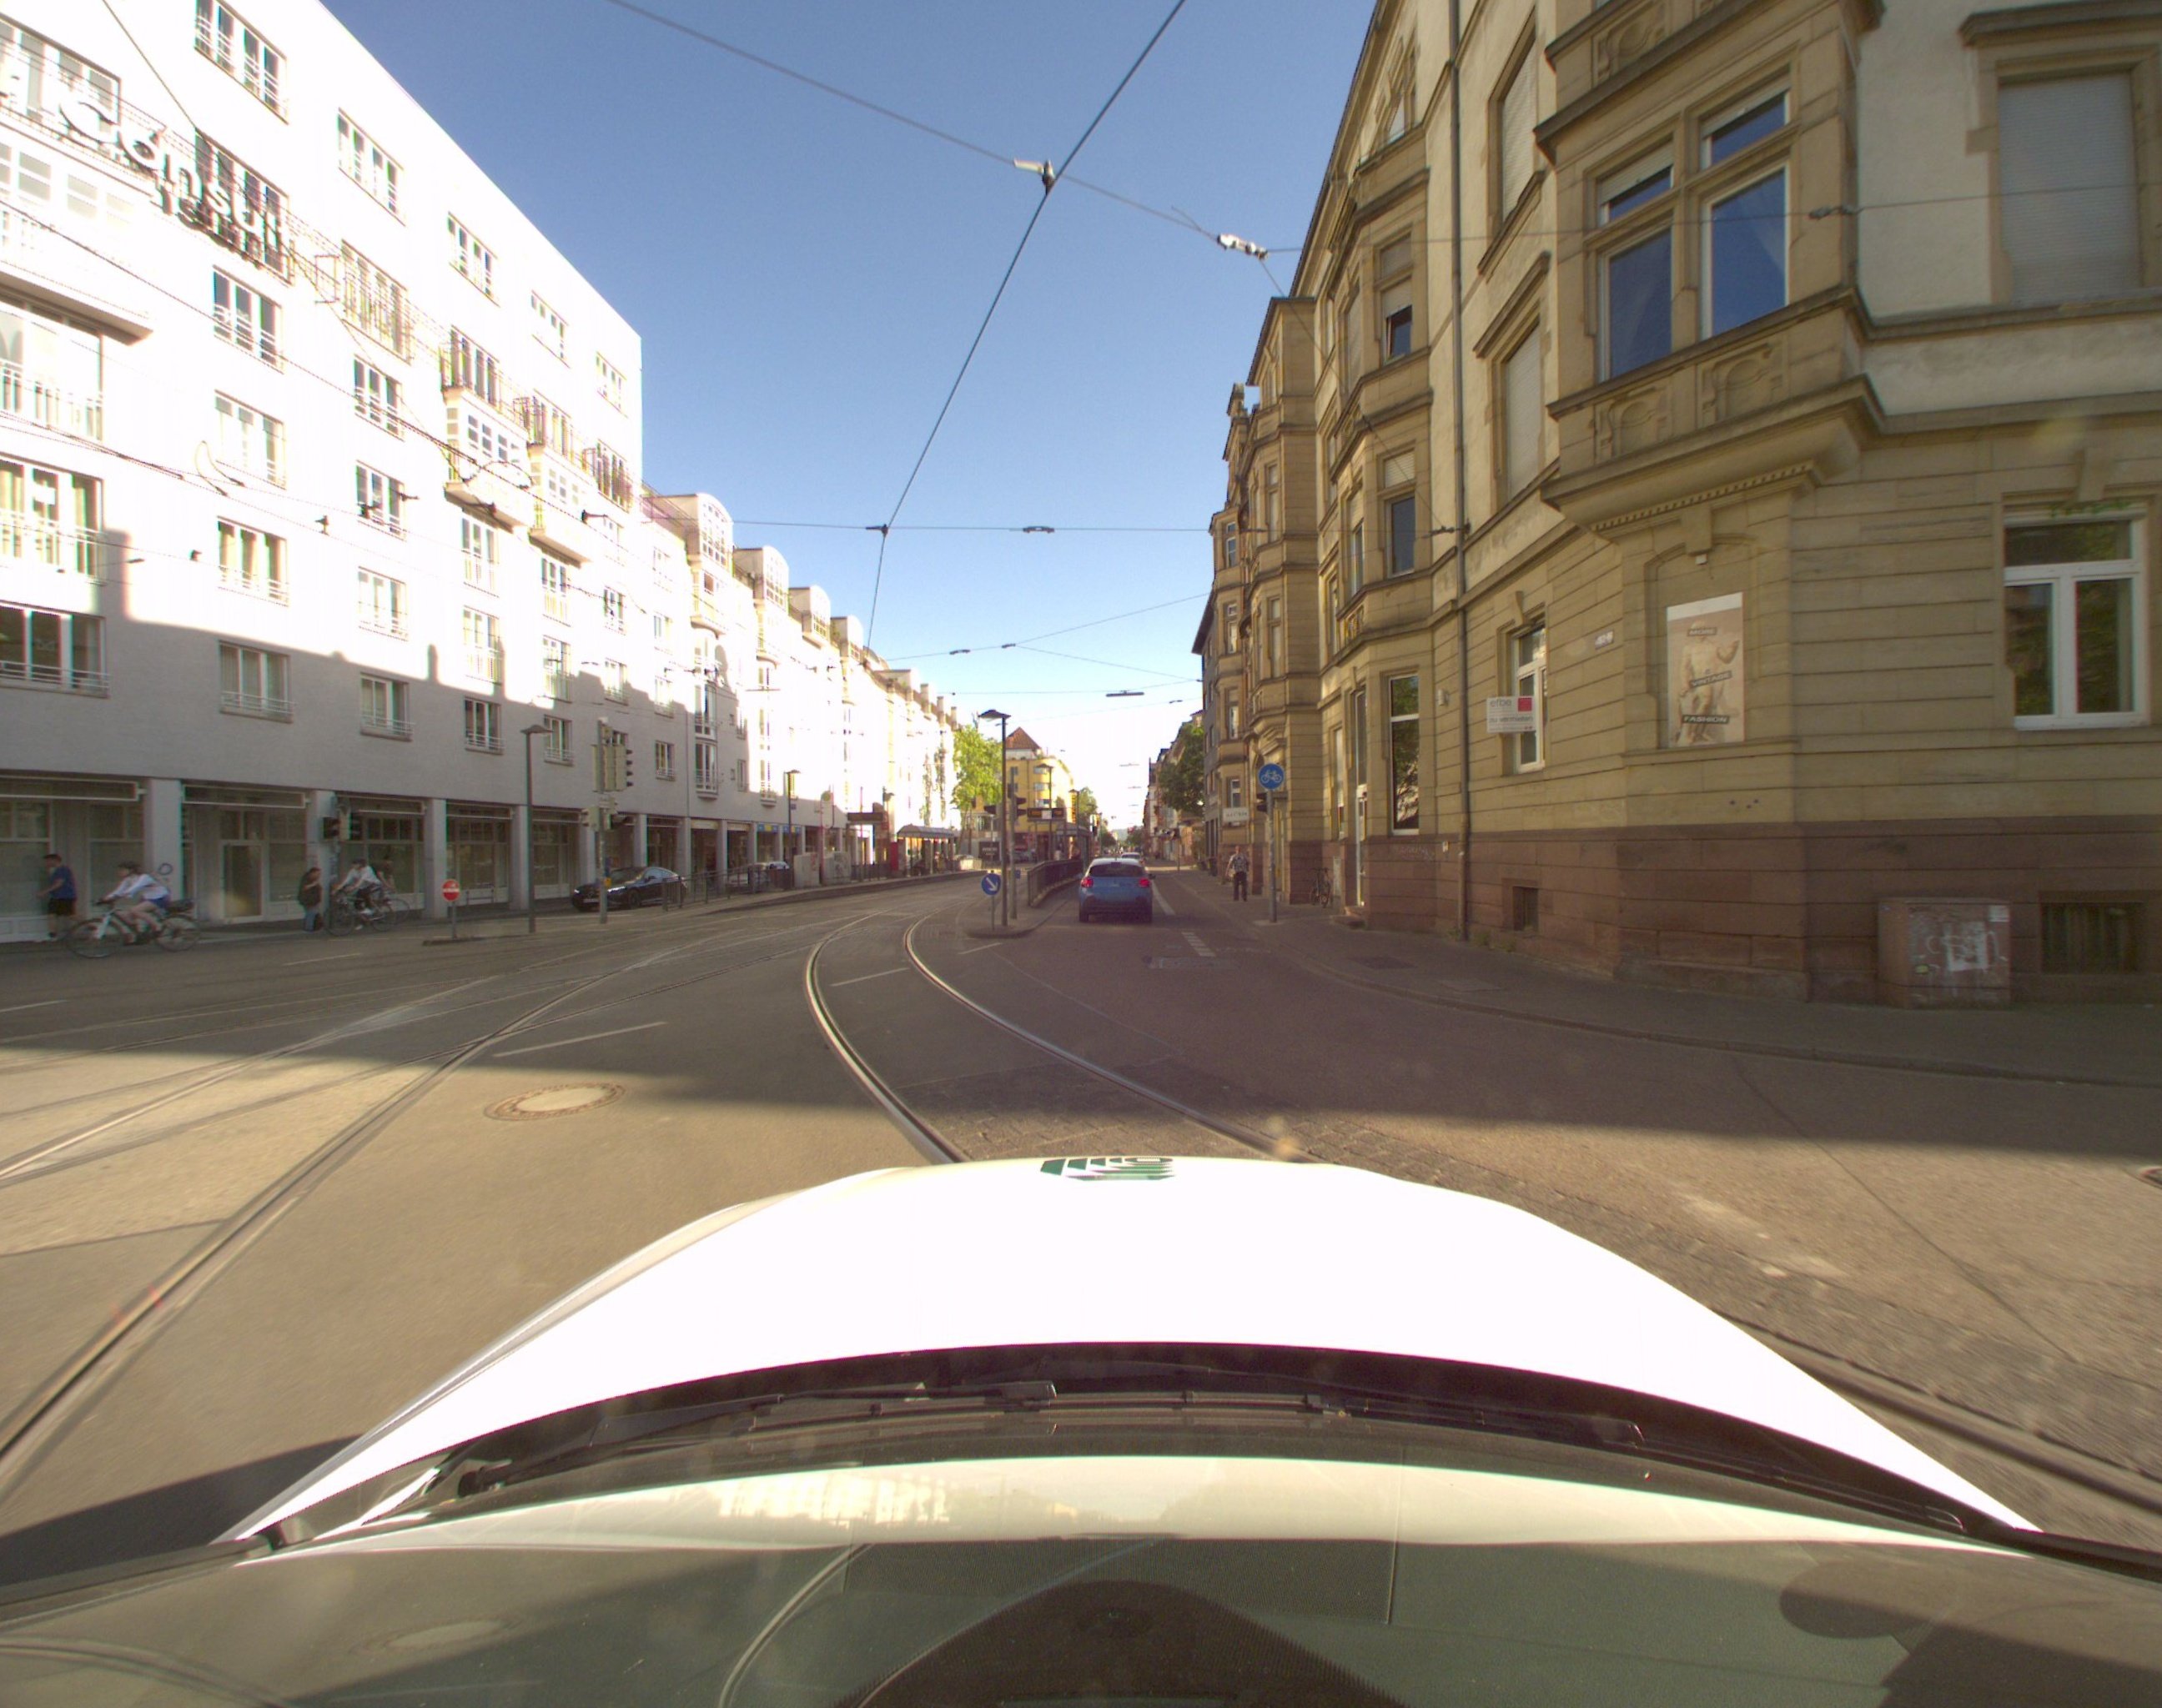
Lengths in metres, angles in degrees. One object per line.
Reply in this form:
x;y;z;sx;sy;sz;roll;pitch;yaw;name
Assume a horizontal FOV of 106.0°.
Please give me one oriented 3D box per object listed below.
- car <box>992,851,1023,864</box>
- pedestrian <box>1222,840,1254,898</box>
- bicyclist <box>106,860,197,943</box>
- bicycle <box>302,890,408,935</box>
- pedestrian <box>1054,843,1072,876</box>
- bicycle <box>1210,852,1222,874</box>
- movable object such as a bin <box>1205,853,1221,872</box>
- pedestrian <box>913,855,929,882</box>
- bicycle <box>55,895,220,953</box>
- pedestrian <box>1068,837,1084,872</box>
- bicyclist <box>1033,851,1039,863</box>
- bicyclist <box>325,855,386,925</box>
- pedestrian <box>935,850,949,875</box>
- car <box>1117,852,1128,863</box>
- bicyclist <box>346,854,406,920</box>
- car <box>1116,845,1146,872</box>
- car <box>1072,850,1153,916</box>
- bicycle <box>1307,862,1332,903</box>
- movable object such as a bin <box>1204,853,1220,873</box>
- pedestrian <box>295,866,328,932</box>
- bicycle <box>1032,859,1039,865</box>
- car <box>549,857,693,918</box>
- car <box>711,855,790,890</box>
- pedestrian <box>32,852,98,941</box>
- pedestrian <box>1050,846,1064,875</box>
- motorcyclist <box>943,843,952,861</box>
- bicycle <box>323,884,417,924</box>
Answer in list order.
-10.068;0.427;111.524;3.974;1.675;1.957;-1;-1;0;car
4.860;0.448;25.268;0.777;1.750;1.093;-1;0;1;pedestrian
-17.456;0.881;15.317;0.586;1.488;0.929;-2;-3;5;bicyclist
-16.877;1.344;19.012;0.592;0.972;2.048;-2;-2;1;bicycle
-0.989;0.312;44.398;0.710;1.777;0.569;-3;-2;39;pedestrian
7.194;0.514;43.465;0.457;1.123;1.775;-3;-2;4;bicycle
7.501;0.498;46.206;0.745;1.036;0.754;-5;-2;4;movable object such as a bin
-9.343;0.829;47.571;0.728;1.527;0.743;-1;-1;2;pedestrian
-17.451;1.265;15.150;0.591;0.972;2.014;-2;-2;5;bicycle
-0.236;0.037;39.485;0.632;1.698;0.936;0;-3;11;pedestrian
-5.987;0.397;107.869;0.669;1.557;0.779;-1;-1;4;bicyclist
-16.876;0.836;18.966;0.586;1.585;0.896;-2;-3;1;bicyclist
-8.808;0.528;51.636;0.728;1.559;0.743;-1;-1;2;pedestrian
7.578;0.644;149.111;1.985;1.743;4.003;0;-2;4;car
-18.833;0.870;21.759;0.715;1.696;1.035;-2;-2;31;bicyclist
3.446;0.337;56.005;1.985;1.743;4.003;0;-2;4;car
0.822;0.671;19.853;1.773;1.451;3.657;0;-1;4;car
6.316;0.762;21.646;0.254;1.052;1.770;0;-2;4;bicycle
7.562;0.520;46.966;0.745;1.036;0.754;-5;-2;4;movable object such as a bin
-18.429;1.059;19.511;0.444;1.534;0.676;-1;0;-33;pedestrian
-6.004;1.064;107.694;0.563;0.757;1.940;-1;-1;5;bicycle
-15.741;1.131;28.228;2.218;1.911;4.611;-1;-2;3;car
-15.413;0.880;38.246;1.722;1.515;4.407;-1;-2;3;car
-21.460;0.874;17.214;0.456;1.832;0.750;-1;0;21;pedestrian
-1.299;0.354;43.943;0.579;1.562;0.472;-3;-2;39;pedestrian
-10.995;-0.169;67.046;0.484;1.503;0.723;0;-3;4;motorcyclist
-18.855;1.317;21.636;0.669;0.980;1.773;-2;-2;31;bicycle
